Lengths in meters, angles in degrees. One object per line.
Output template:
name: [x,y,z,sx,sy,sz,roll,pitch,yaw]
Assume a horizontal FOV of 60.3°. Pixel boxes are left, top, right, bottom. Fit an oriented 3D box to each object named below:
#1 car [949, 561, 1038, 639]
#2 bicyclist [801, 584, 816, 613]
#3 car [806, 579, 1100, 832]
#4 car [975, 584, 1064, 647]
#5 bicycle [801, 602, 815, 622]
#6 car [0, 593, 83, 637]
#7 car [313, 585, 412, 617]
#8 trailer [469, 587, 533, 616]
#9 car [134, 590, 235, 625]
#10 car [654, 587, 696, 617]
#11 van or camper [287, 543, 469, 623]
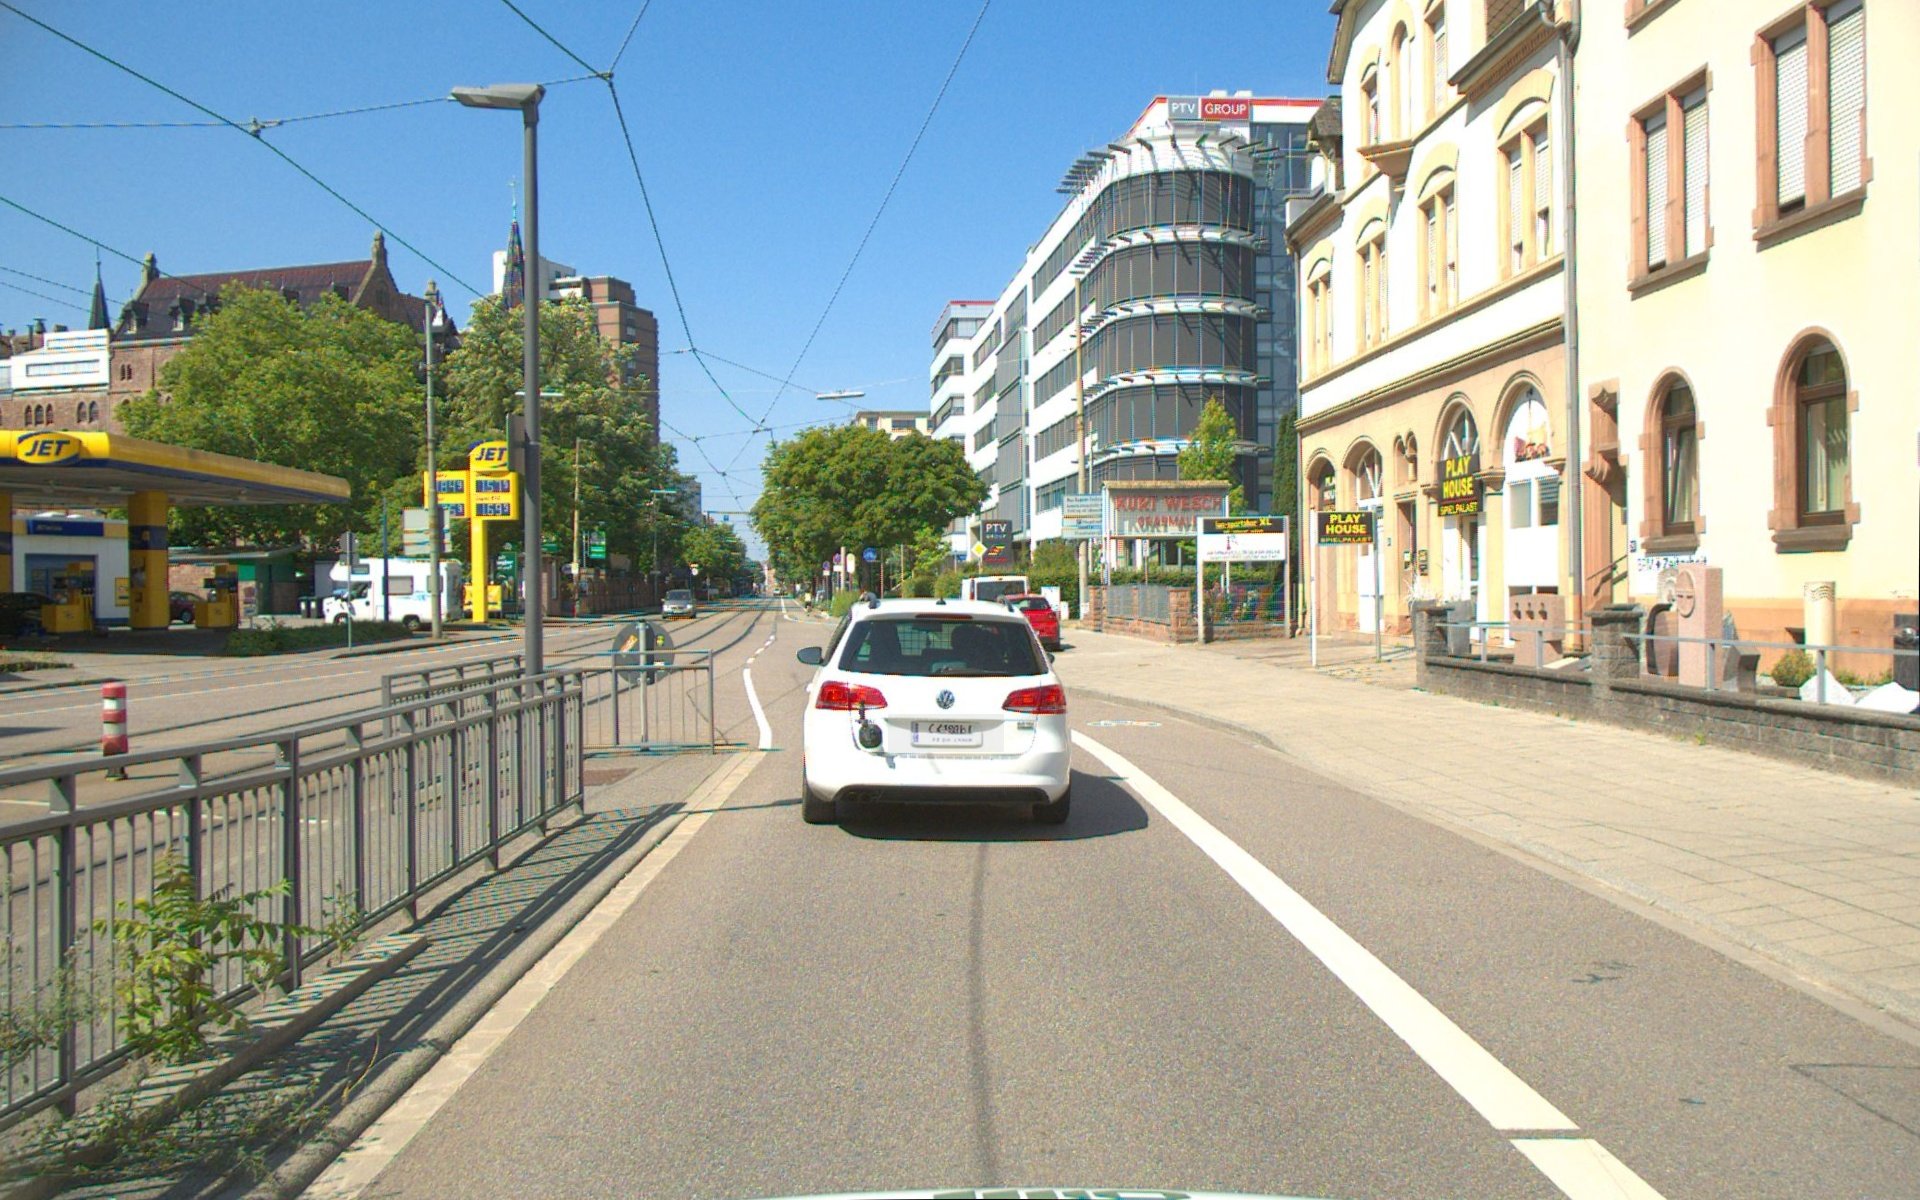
car: [0.916,-0.013,48.964,1.938,2.090,5.185,-3,1,-6]
bicyclist: [-8.948,-0.092,97.764,0.771,1.657,0.737,4,-1,-6]
car: [-0.223,0.591,11.881,1.719,1.467,4.408,0,1,-5]
car: [1.485,0.369,42.817,1.689,1.468,4.307,-3,1,-6]
bicycle: [-8.985,0.701,97.696,0.795,1.097,2.009,0,0,-6]
car: [-30.295,0.451,52.491,1.661,1.326,4.392,1,1,18]
car: [-31.113,0.056,86.265,1.912,1.611,4.557,0,0,38]
trailer: [-25.689,0.085,92.648,3.153,1.552,1.776,0,0,-5]
car: [-36.078,0.350,76.978,4.071,1.554,1.938,0,0,19]
car: [-16.067,0.098,93.300,1.710,1.598,3.890,-2,0,-1]
van or camper: [-24.172,-0.701,68.920,6.558,3.019,2.615,2,0,-3]
